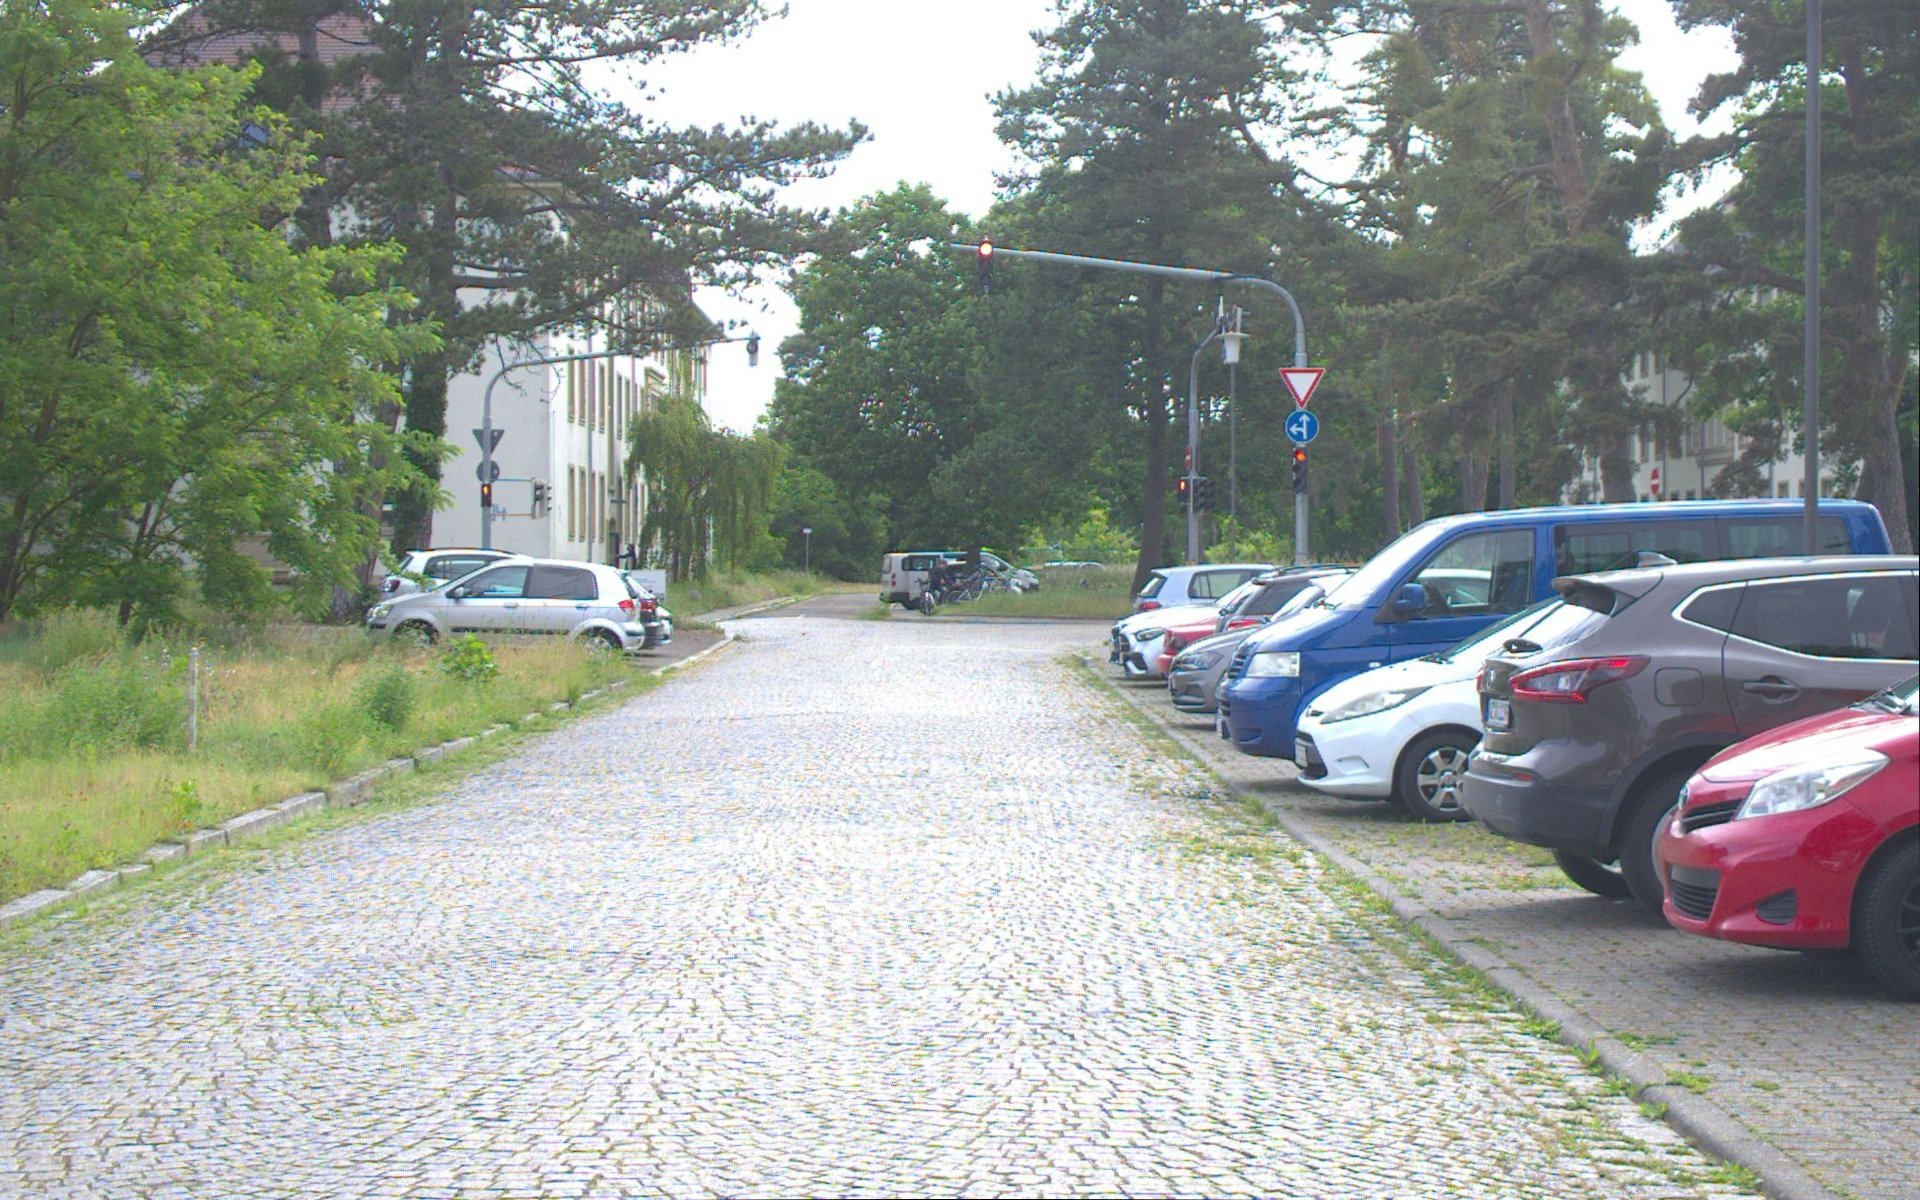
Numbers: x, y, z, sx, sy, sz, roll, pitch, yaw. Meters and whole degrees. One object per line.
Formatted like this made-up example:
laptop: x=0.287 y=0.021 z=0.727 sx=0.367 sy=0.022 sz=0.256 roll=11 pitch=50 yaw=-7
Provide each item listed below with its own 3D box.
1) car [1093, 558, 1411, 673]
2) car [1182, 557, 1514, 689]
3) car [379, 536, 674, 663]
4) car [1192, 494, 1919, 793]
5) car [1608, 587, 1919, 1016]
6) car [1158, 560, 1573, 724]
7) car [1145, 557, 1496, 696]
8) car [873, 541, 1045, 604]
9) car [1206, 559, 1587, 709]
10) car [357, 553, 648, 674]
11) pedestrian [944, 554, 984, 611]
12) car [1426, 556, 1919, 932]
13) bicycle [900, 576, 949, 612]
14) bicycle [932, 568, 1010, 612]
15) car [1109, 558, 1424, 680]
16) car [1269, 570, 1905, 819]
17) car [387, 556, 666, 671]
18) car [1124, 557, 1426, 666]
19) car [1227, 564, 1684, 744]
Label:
car: x=3.838 y=0.199 z=45.554 sx=3.967 sy=1.416 sz=1.620 roll=-1 pitch=0 yaw=-4
car: x=4.535 y=0.258 z=40.445 sx=3.671 sy=1.444 sz=1.524 roll=-1 pitch=0 yaw=-2
car: x=-6.590 y=-0.014 z=52.548 sx=4.262 sy=1.834 sz=1.744 roll=-1 pitch=0 yaw=-1
car: x=4.137 y=0.287 z=24.407 sx=4.754 sy=1.948 sz=1.931 roll=-1 pitch=0 yaw=-2
car: x=4.486 y=0.671 z=12.781 sx=3.792 sy=1.455 sz=1.751 roll=-1 pitch=0 yaw=0
car: x=3.787 y=0.383 z=32.467 sx=3.671 sy=1.444 sz=1.524 roll=-1 pitch=0 yaw=-2
car: x=3.964 y=0.278 z=38.161 sx=3.671 sy=1.444 sz=1.524 roll=-1 pitch=0 yaw=-2
car: x=-0.056 y=-0.908 z=115.043 sx=5.444 sy=2.007 sz=2.269 roll=1 pitch=1 yaw=-9
car: x=4.465 y=0.334 z=35.454 sx=3.671 sy=1.444 sz=1.524 roll=-1 pitch=0 yaw=-2
car: x=-6.240 y=0.173 z=47.145 sx=3.821 sy=1.567 sz=1.564 roll=-1 pitch=0 yaw=-3
pedestrian: x=0.111 y=-0.493 z=97.478 sx=1.033 sy=1.608 sz=0.757 roll=1 pitch=0 yaw=-5
car: x=4.264 y=0.579 z=15.439 sx=4.028 sy=1.547 sz=1.751 roll=-1 pitch=0 yaw=-2
bicycle: x=-0.964 y=-0.158 z=93.070 sx=0.620 sy=0.942 sz=1.663 roll=1 pitch=1 yaw=-28
bicycle: x=0.312 y=-0.282 z=97.137 sx=2.136 sy=1.210 sz=0.622 roll=1 pitch=0 yaw=-4
car: x=3.775 y=0.228 z=42.698 sx=3.671 sy=1.416 sz=1.524 roll=-1 pitch=0 yaw=-4
car: x=3.912 y=0.569 z=21.817 sx=3.671 sy=1.444 sz=1.615 roll=-1 pitch=0 yaw=-3
car: x=-6.217 y=0.183 z=49.562 sx=3.821 sy=1.567 sz=1.564 roll=-1 pitch=0 yaw=-1
car: x=4.389 y=0.151 z=48.203 sx=3.967 sy=1.416 sz=1.620 roll=-1 pitch=0 yaw=-4
car: x=4.233 y=0.450 z=29.688 sx=3.671 sy=1.444 sz=1.524 roll=-1 pitch=0 yaw=-2
